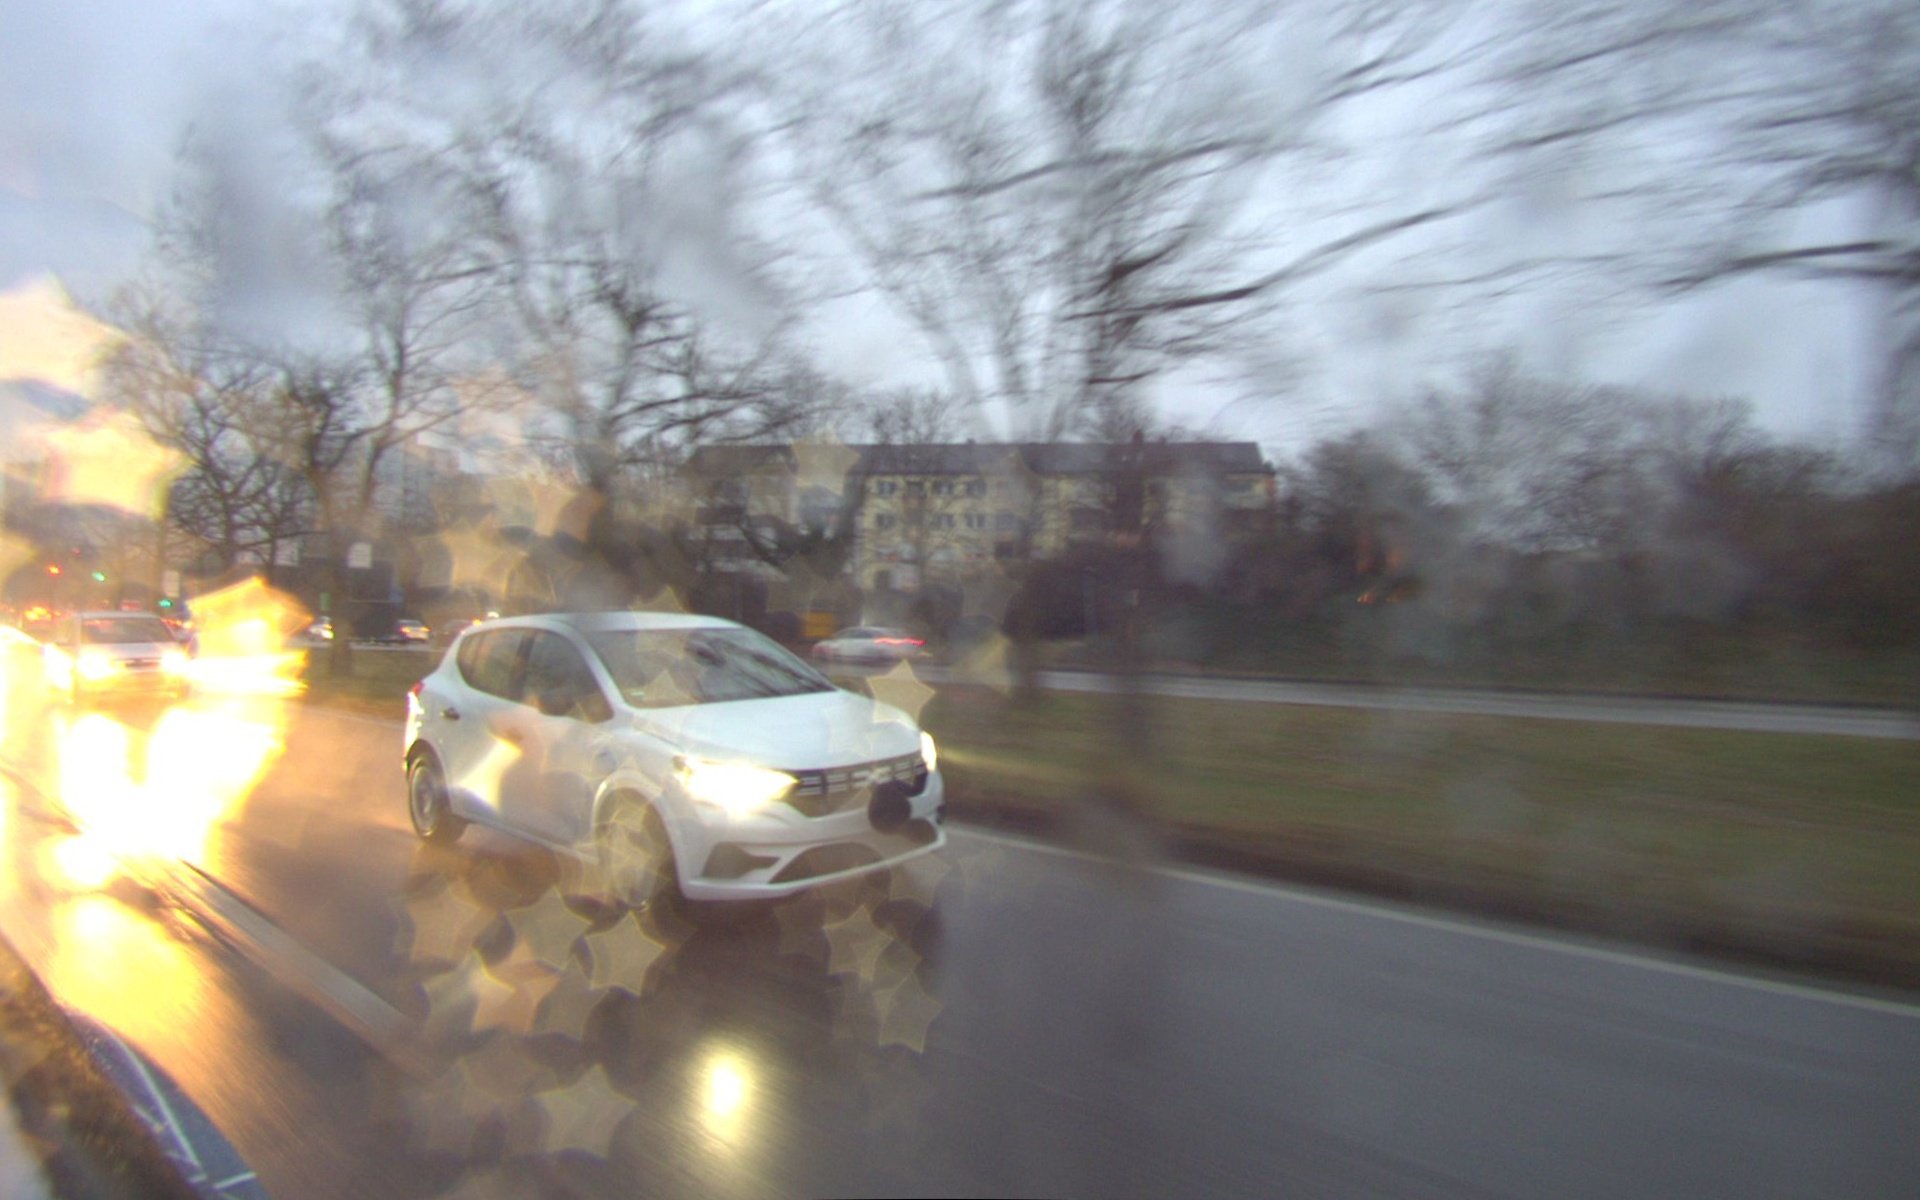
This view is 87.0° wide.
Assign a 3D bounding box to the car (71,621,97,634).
[{"bbox_3d":[-86.261,2.667,99.631,3.998,1.206,1.440,0,0,41],"label":"car"}]

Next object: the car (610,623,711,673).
[{"bbox_3d":[-10.727,1.674,36.152,3.979,1.694,1.600,-1,-2,42],"label":"car"}]

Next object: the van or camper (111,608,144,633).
[{"bbox_3d":[-87.669,2.125,106.571,4.737,2.629,1.942,-1,-1,42],"label":"van or camper"}]

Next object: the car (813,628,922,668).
[{"bbox_3d":[-3.628,1.822,39.159,4.298,1.405,1.730,-1,-1,42],"label":"car"}]

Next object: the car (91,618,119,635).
[{"bbox_3d":[-81.635,2.517,96.604,3.999,1.514,1.553,0,0,42],"label":"car"}]

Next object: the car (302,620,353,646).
[{"bbox_3d":[-39.035,2.013,62.383,3.955,1.511,1.631,-1,-1,42],"label":"car"}]

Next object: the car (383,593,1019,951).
[{"bbox_3d":[-1.821,0.737,6.169,4.224,1.451,1.706,-1,-1,42],"label":"car"}]

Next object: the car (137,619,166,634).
[{"bbox_3d":[-77.051,2.520,96.383,3.999,1.302,1.521,-1,-1,42],"label":"car"}]

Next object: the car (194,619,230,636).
[{"bbox_3d":[-59.132,2.161,80.008,3.955,1.338,1.521,-1,-1,42],"label":"car"}]

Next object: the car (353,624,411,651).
[{"bbox_3d":[-31.782,2.044,55.619,3.955,1.364,1.631,-1,-1,42],"label":"car"}]

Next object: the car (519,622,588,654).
[{"bbox_3d":[-19.805,1.827,49.243,3.790,1.479,1.614,-1,-1,42],"label":"car"}]

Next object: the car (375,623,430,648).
[{"bbox_3d":[-35.037,2.218,63.618,4.271,1.500,1.700,-1,-1,42],"label":"car"}]

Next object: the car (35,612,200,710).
[{"bbox_3d":[-15.617,1.035,18.685,4.164,1.611,1.742,-1,-1,42],"label":"car"}]

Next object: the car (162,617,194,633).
[{"bbox_3d":[-67.516,2.171,87.338,3.999,1.321,1.521,-1,-1,42],"label":"car"}]

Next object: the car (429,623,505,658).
[{"bbox_3d":[-23.747,1.922,48.650,4.376,1.545,1.764,-1,-1,42],"label":"car"}]
